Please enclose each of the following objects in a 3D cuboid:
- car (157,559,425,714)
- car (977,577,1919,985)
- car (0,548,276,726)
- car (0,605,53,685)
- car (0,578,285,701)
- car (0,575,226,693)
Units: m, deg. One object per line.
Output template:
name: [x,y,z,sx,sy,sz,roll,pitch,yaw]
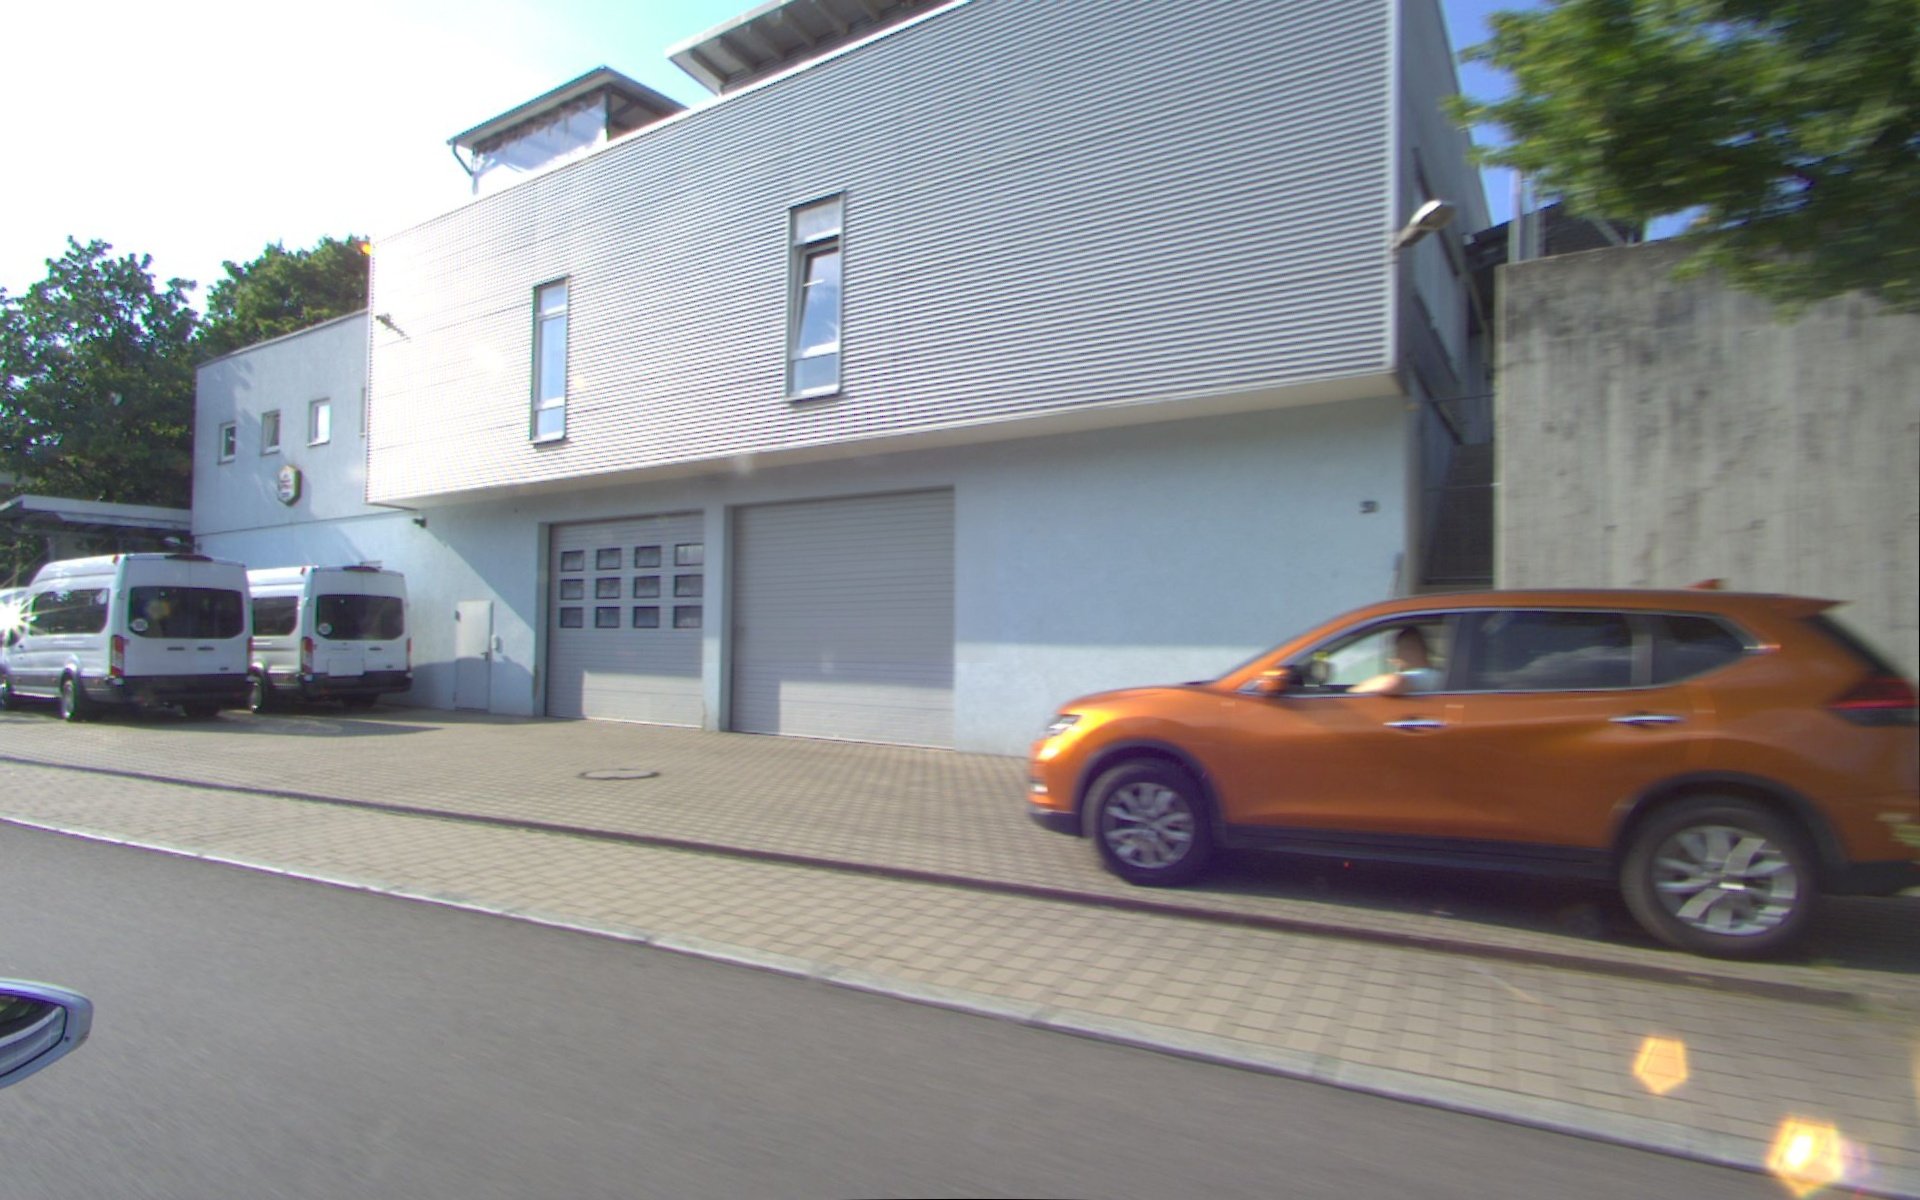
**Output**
car: [-13.722,0.694,20.390,6.350,2.757,2.108,0,-1,32]
car: [2.502,0.791,5.841,4.465,1.670,1.835,0,-2,26]
car: [-15.004,0.604,17.921,6.508,2.715,2.146,0,-1,32]
car: [-24.227,1.066,23.825,1.563,1.918,3.596,0,-2,30]
car: [-18.419,0.836,21.680,2.014,2.393,6.036,0,-2,31]
car: [-20.944,0.770,23.197,2.014,2.548,6.036,0,-2,31]
